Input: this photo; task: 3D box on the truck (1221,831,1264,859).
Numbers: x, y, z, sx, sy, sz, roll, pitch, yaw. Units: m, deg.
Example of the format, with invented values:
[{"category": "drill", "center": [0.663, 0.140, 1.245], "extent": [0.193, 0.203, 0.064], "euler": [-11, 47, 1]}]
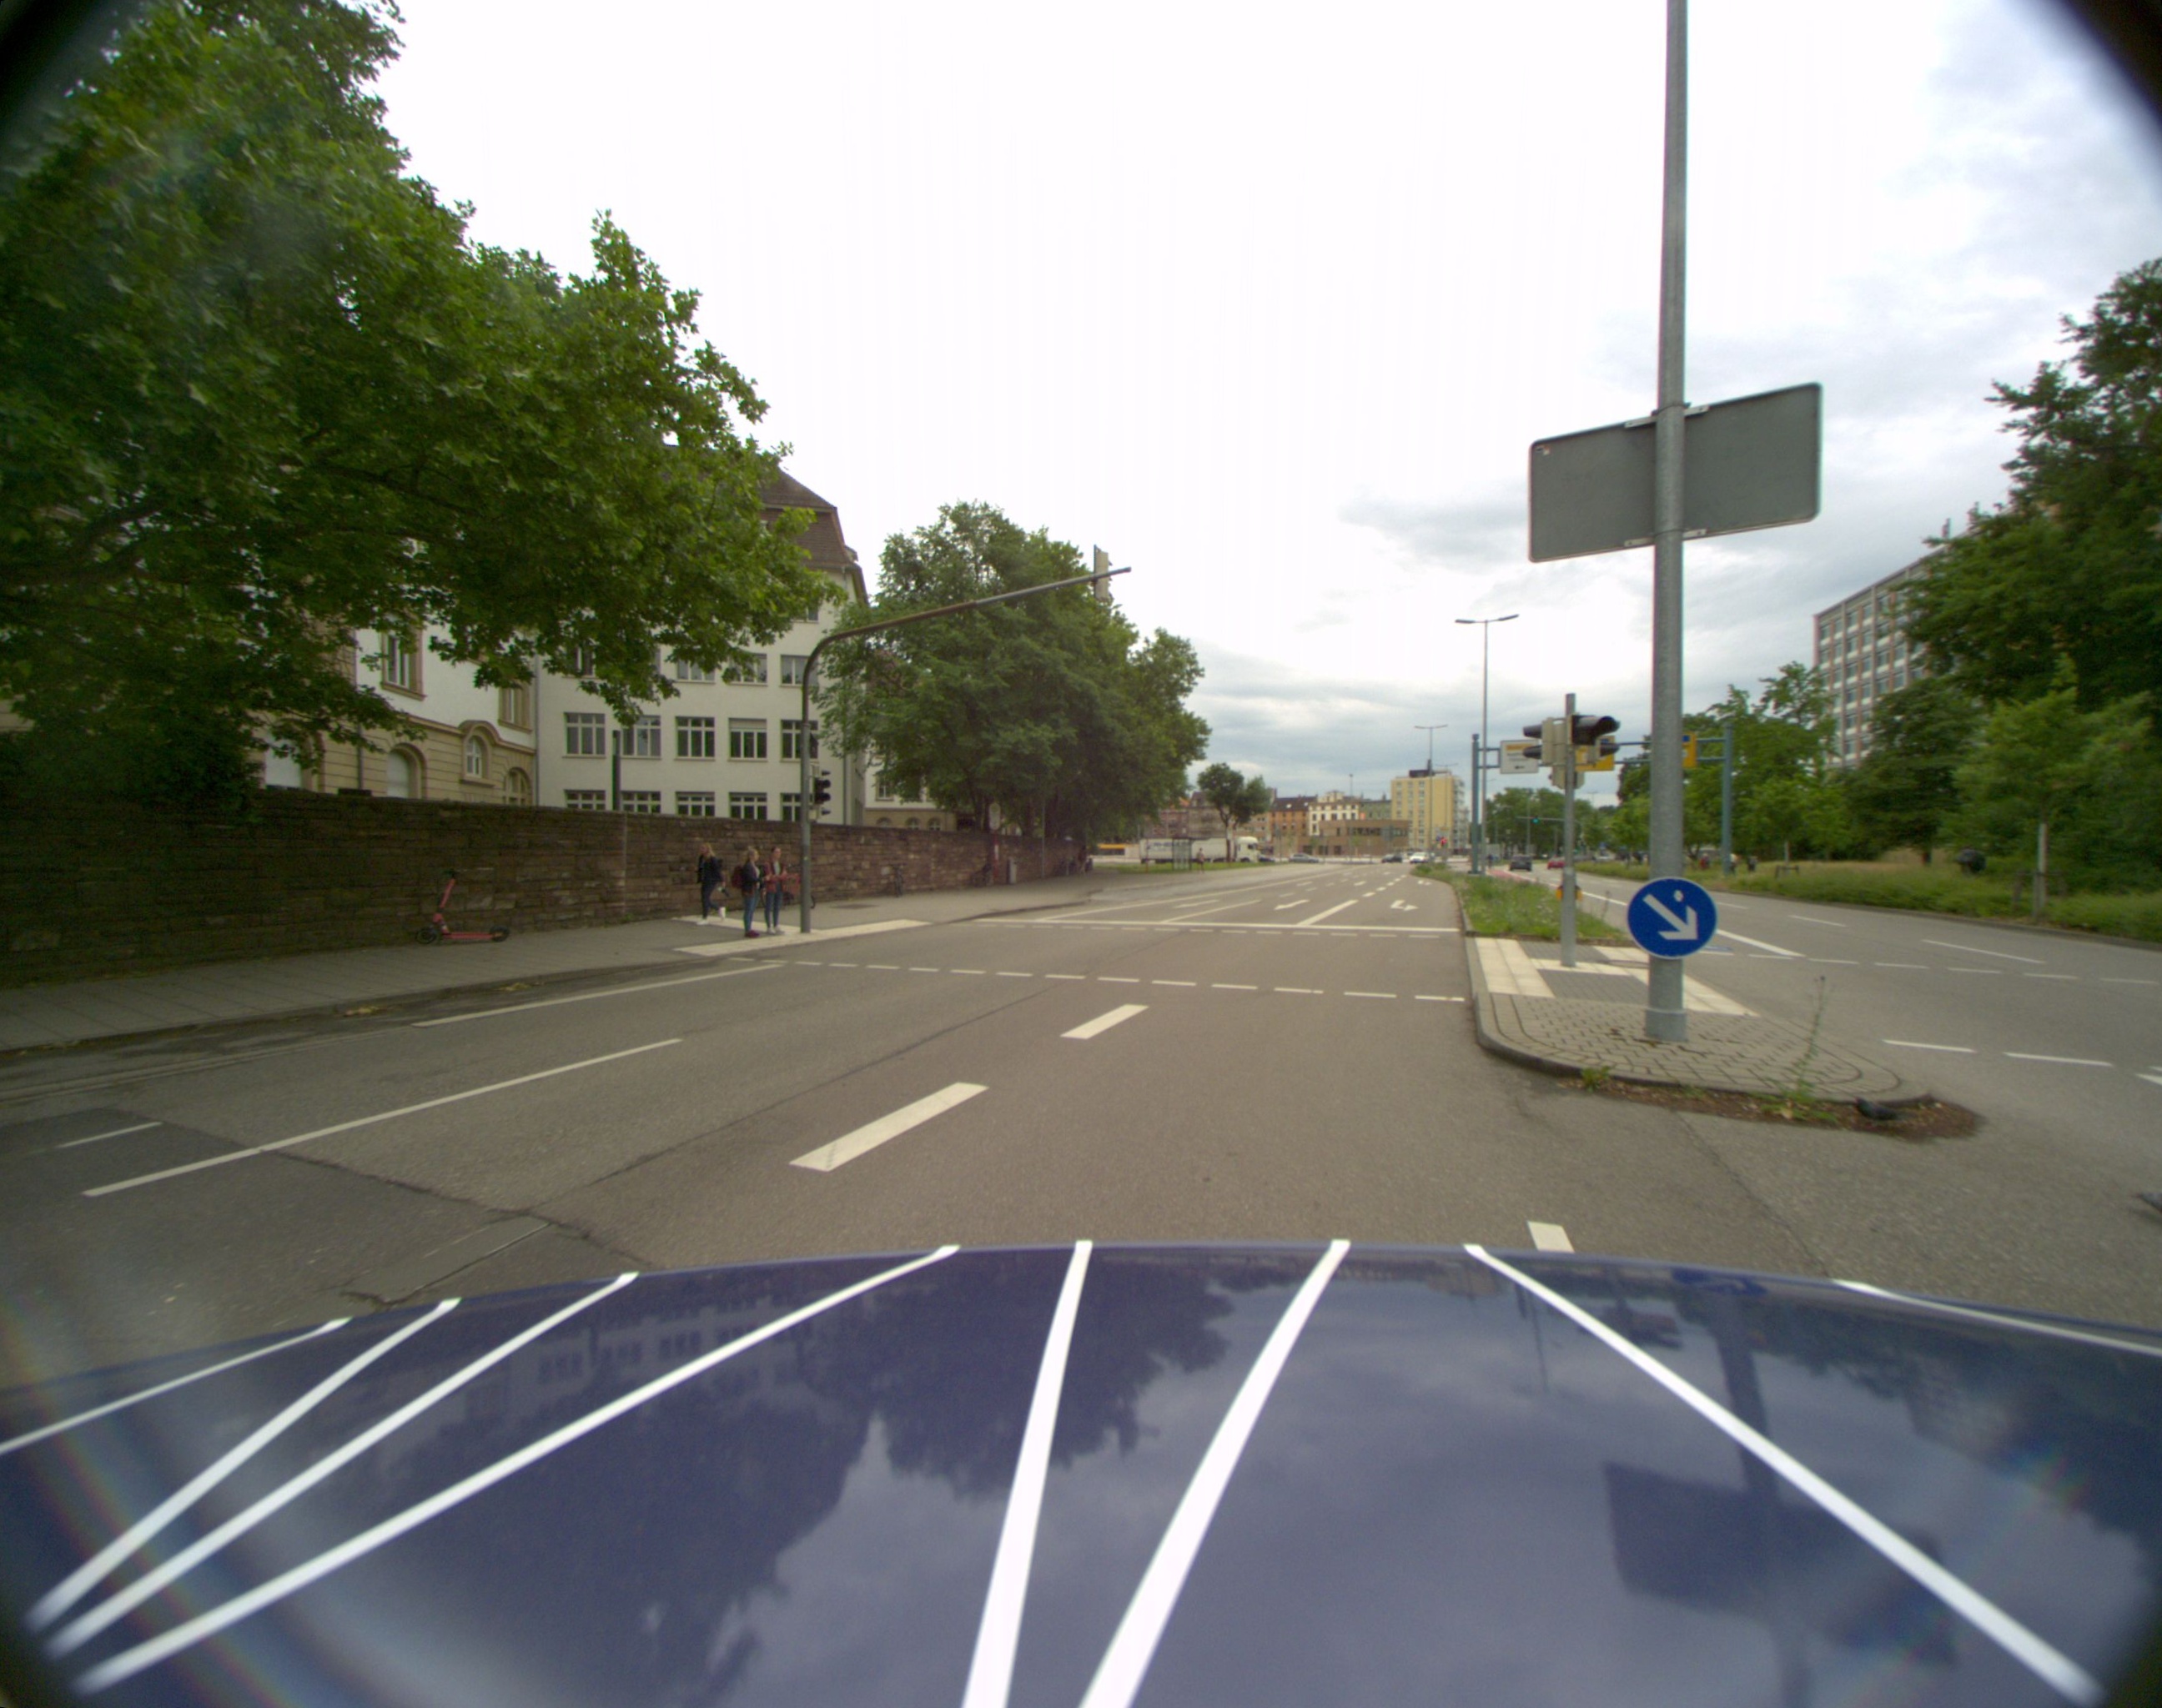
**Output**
[{"category": "truck", "center": [22.417, -1.231, 105.722], "extent": [5.438, 3.802, 2.848], "euler": [0, 2, 21]}]

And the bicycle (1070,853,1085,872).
[{"category": "bicycle", "center": [-0.223, 0.507, 48.148], "extent": [0.507, 1.141, 2.249], "euler": [2, 1, 9]}]

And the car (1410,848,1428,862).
[{"category": "car", "center": [46.449, 0.103, 104.277], "extent": [2.043, 1.688, 5.382], "euler": [-2, 1, 26]}]

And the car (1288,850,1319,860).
[{"category": "car", "center": [31.415, 0.152, 107.450], "extent": [3.990, 1.368, 2.003], "euler": [1, 1, 22]}]

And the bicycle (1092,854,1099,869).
[{"category": "bicycle", "center": [1.183, 0.554, 61.097], "extent": [0.507, 1.141, 2.248], "euler": [2, 1, 1]}]

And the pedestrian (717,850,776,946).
[{"category": "pedestrian", "center": [-6.292, 0.802, 14.318], "extent": [0.734, 1.729, 0.671], "euler": [2, 1, 19]}]

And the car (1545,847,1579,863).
[{"category": "car", "center": [63.777, 0.113, 100.776], "extent": [1.998, 2.002, 4.000], "euler": [0, 1, 1]}]

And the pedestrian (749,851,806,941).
[{"category": "pedestrian", "center": [-5.969, 0.805, 14.948], "extent": [0.777, 1.684, 0.643], "euler": [2, 2, 21]}]

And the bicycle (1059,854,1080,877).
[{"category": "bicycle", "center": [-0.660, 0.633, 44.315], "extent": [0.664, 1.258, 2.545], "euler": [2, 1, 12]}]

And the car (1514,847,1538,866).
[{"category": "car", "center": [43.799, 0.243, 74.822], "extent": [1.994, 1.783, 4.008], "euler": [1, 1, 30]}]

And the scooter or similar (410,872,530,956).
[{"category": "scooter or similar", "center": [-9.766, 0.927, 12.174], "extent": [0.493, 1.223, 1.416], "euler": [4, 2, 41]}]

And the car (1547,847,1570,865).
[{"category": "car", "center": [54.415, 0.227, 86.559], "extent": [1.994, 2.002, 4.008], "euler": [1, 1, 35]}]

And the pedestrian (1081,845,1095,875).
[{"category": "pedestrian", "center": [0.418, 0.329, 44.224], "extent": [0.790, 1.750, 0.773], "euler": [0, 2, 3]}]

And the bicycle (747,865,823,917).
[{"category": "bicycle", "center": [-7.341, 0.883, 18.969], "extent": [0.582, 1.178, 2.158], "euler": [2, 1, 14]}]

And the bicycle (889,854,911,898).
[{"category": "bicycle", "center": [-6.047, 0.721, 25.323], "extent": [0.670, 1.372, 2.582], "euler": [0, -1, -14]}]

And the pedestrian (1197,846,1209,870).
[{"category": "pedestrian", "center": [8.570, 0.262, 53.417], "extent": [0.641, 1.696, 0.709], "euler": [1, 0, 22]}]

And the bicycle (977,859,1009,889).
[{"category": "bicycle", "center": [-3.675, 0.824, 31.982], "extent": [0.664, 1.141, 2.158], "euler": [2, 1, 12]}]

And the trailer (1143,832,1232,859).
[{"category": "trailer", "center": [15.174, -1.275, 108.573], "extent": [12.345, 3.802, 2.848], "euler": [1, 2, 21]}]

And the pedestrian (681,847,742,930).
[{"category": "pedestrian", "center": [-7.728, 0.703, 15.893], "extent": [0.789, 1.655, 0.810], "euler": [2, 2, 22]}]

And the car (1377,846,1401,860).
[{"category": "car", "center": [46.493, -0.153, 114.595], "extent": [1.994, 2.002, 4.008], "euler": [1, 1, 44]}]
